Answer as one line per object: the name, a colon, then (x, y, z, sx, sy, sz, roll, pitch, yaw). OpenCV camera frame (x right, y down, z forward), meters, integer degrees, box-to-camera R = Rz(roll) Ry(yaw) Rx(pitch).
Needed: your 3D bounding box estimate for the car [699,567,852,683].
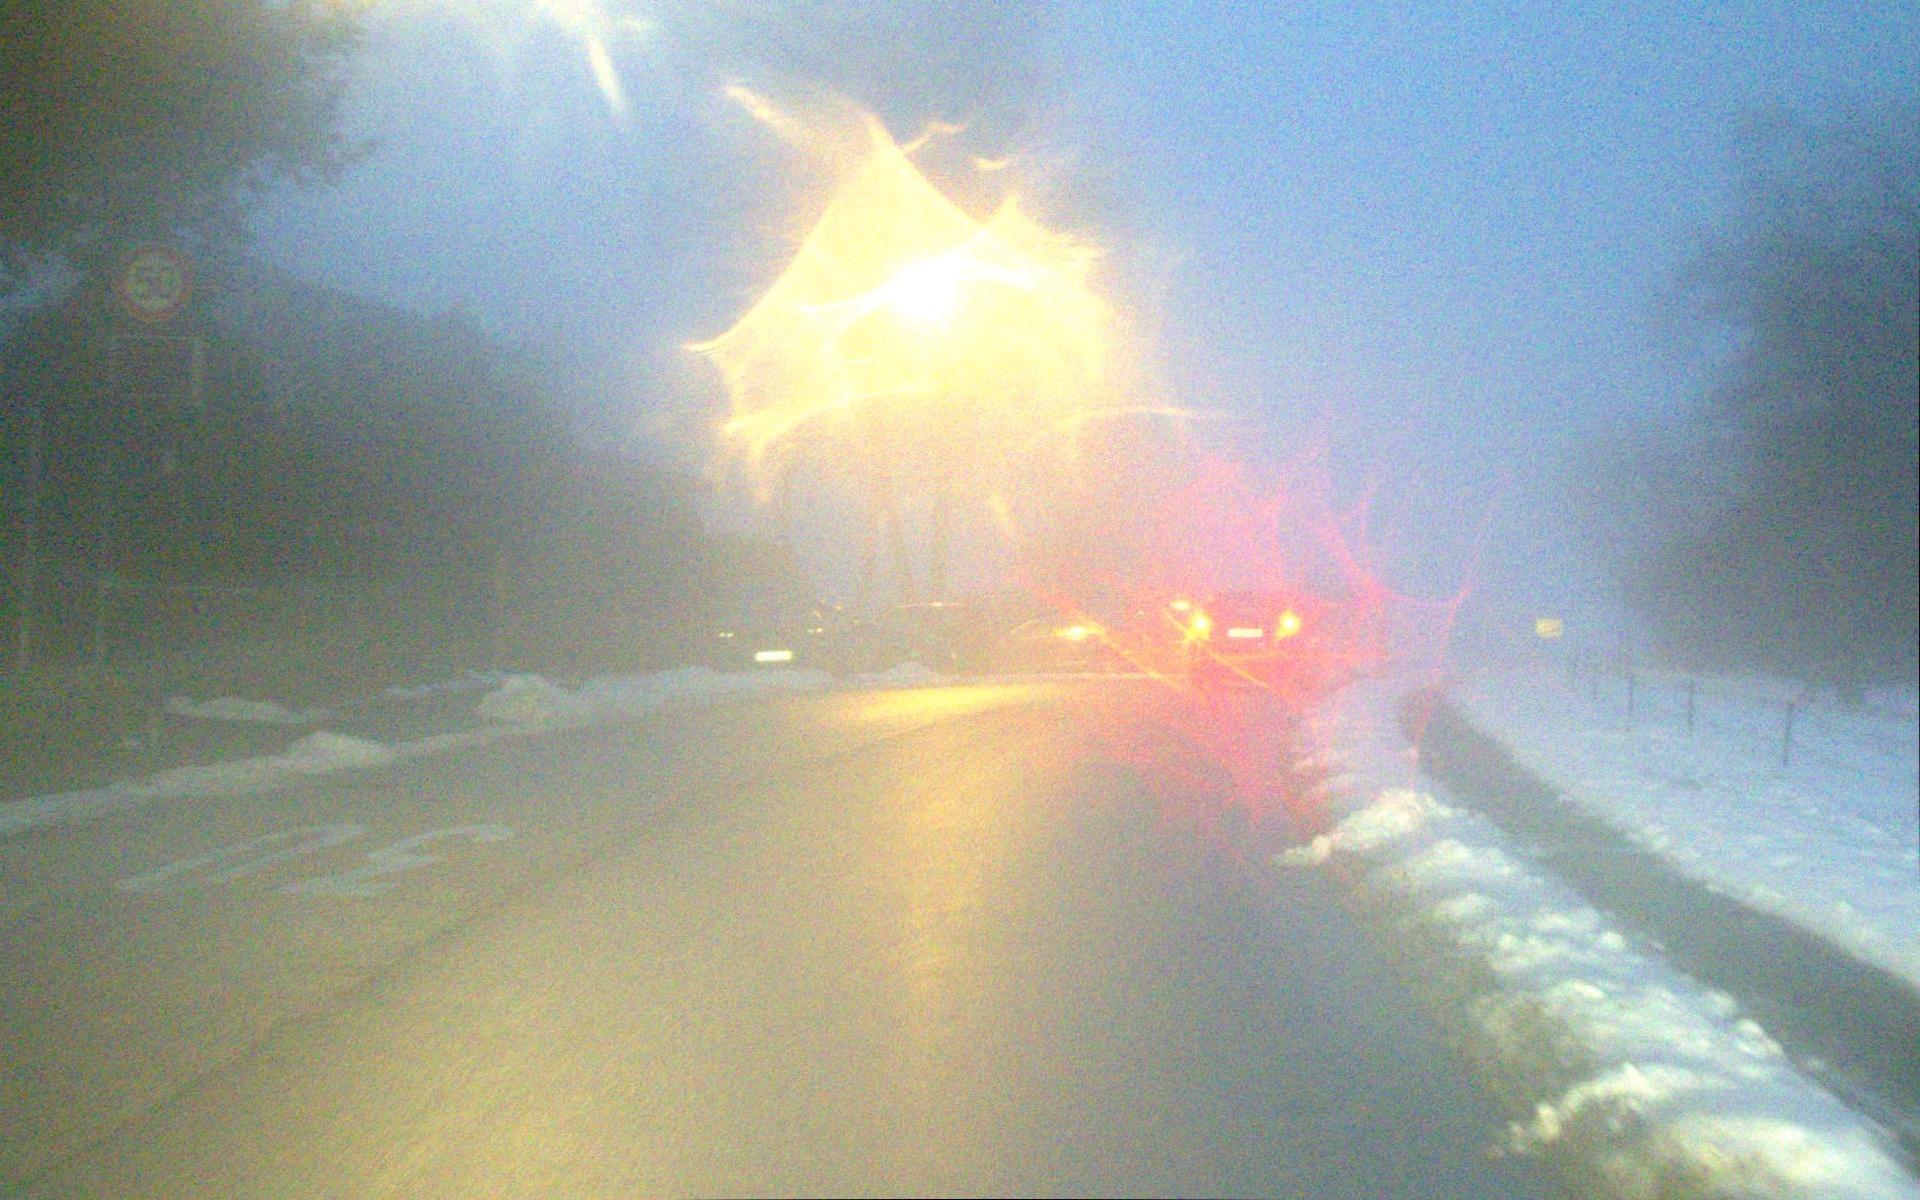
car: (-2.867, 0.423, 52.534, 1.993, 1.561, 4.998, -3, -1, -6)

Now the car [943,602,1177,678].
car: (2.254, 0.905, 76.905, 4.889, 1.480, 2.122, -2, -1, 12)

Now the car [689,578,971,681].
car: (-2.168, 0.512, 58.267, 4.528, 1.561, 2.110, -2, -1, 4)

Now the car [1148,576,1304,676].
car: (4.033, 0.369, 51.553, 1.994, 1.415, 3.998, 0, 0, 9)
